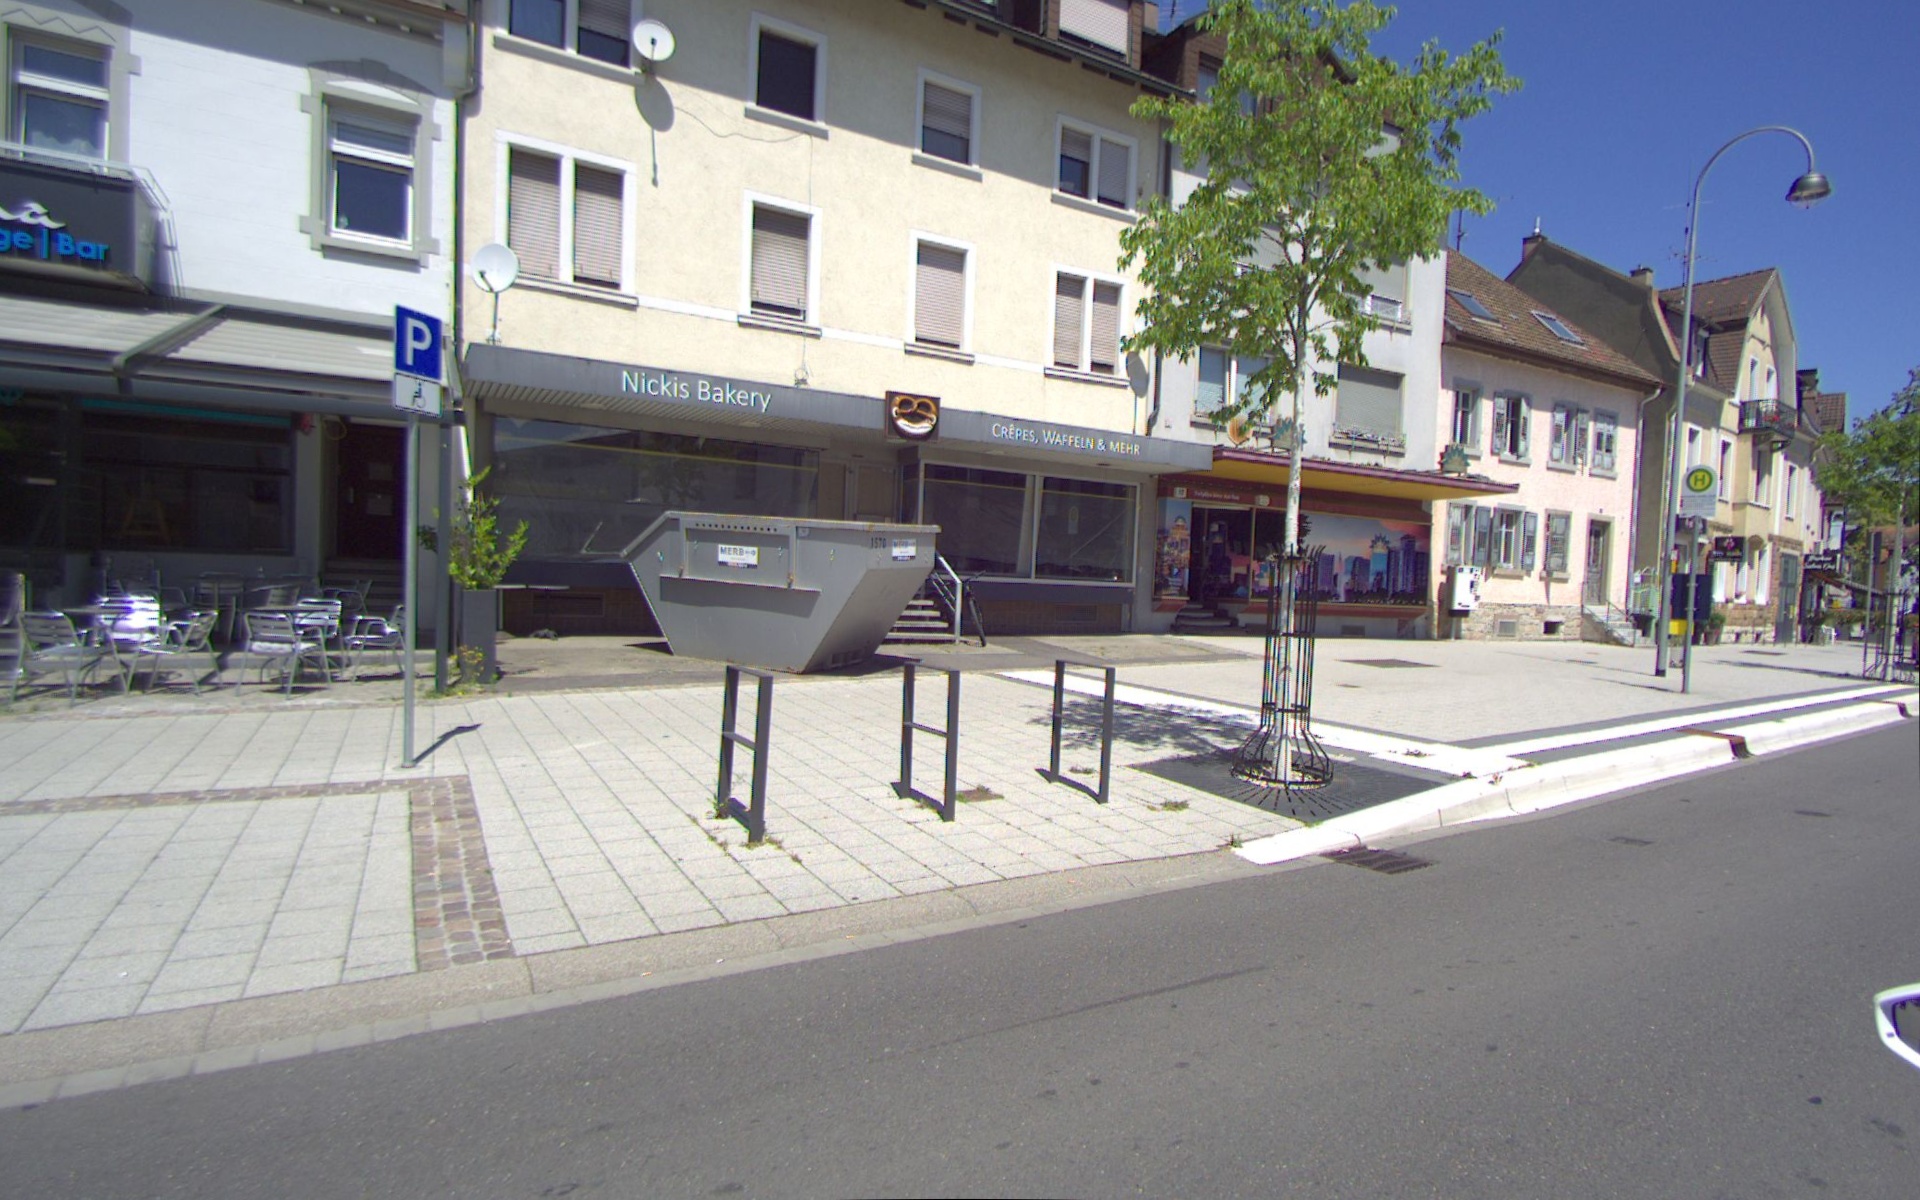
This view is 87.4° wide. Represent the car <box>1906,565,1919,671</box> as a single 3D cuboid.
[{"bbox_3d":[25.457,0.535,25.185,5.465,2.532,2.072,1,4,-44],"label":"car"}]

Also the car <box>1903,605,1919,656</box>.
[{"bbox_3d":[31.161,1.022,31.920,3.493,1.541,1.544,2,2,-45],"label":"car"}]

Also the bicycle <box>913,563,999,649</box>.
[{"bbox_3d":[-0.098,0.070,16.458,0.608,1.251,1.757,1,4,-28],"label":"bicycle"}]
